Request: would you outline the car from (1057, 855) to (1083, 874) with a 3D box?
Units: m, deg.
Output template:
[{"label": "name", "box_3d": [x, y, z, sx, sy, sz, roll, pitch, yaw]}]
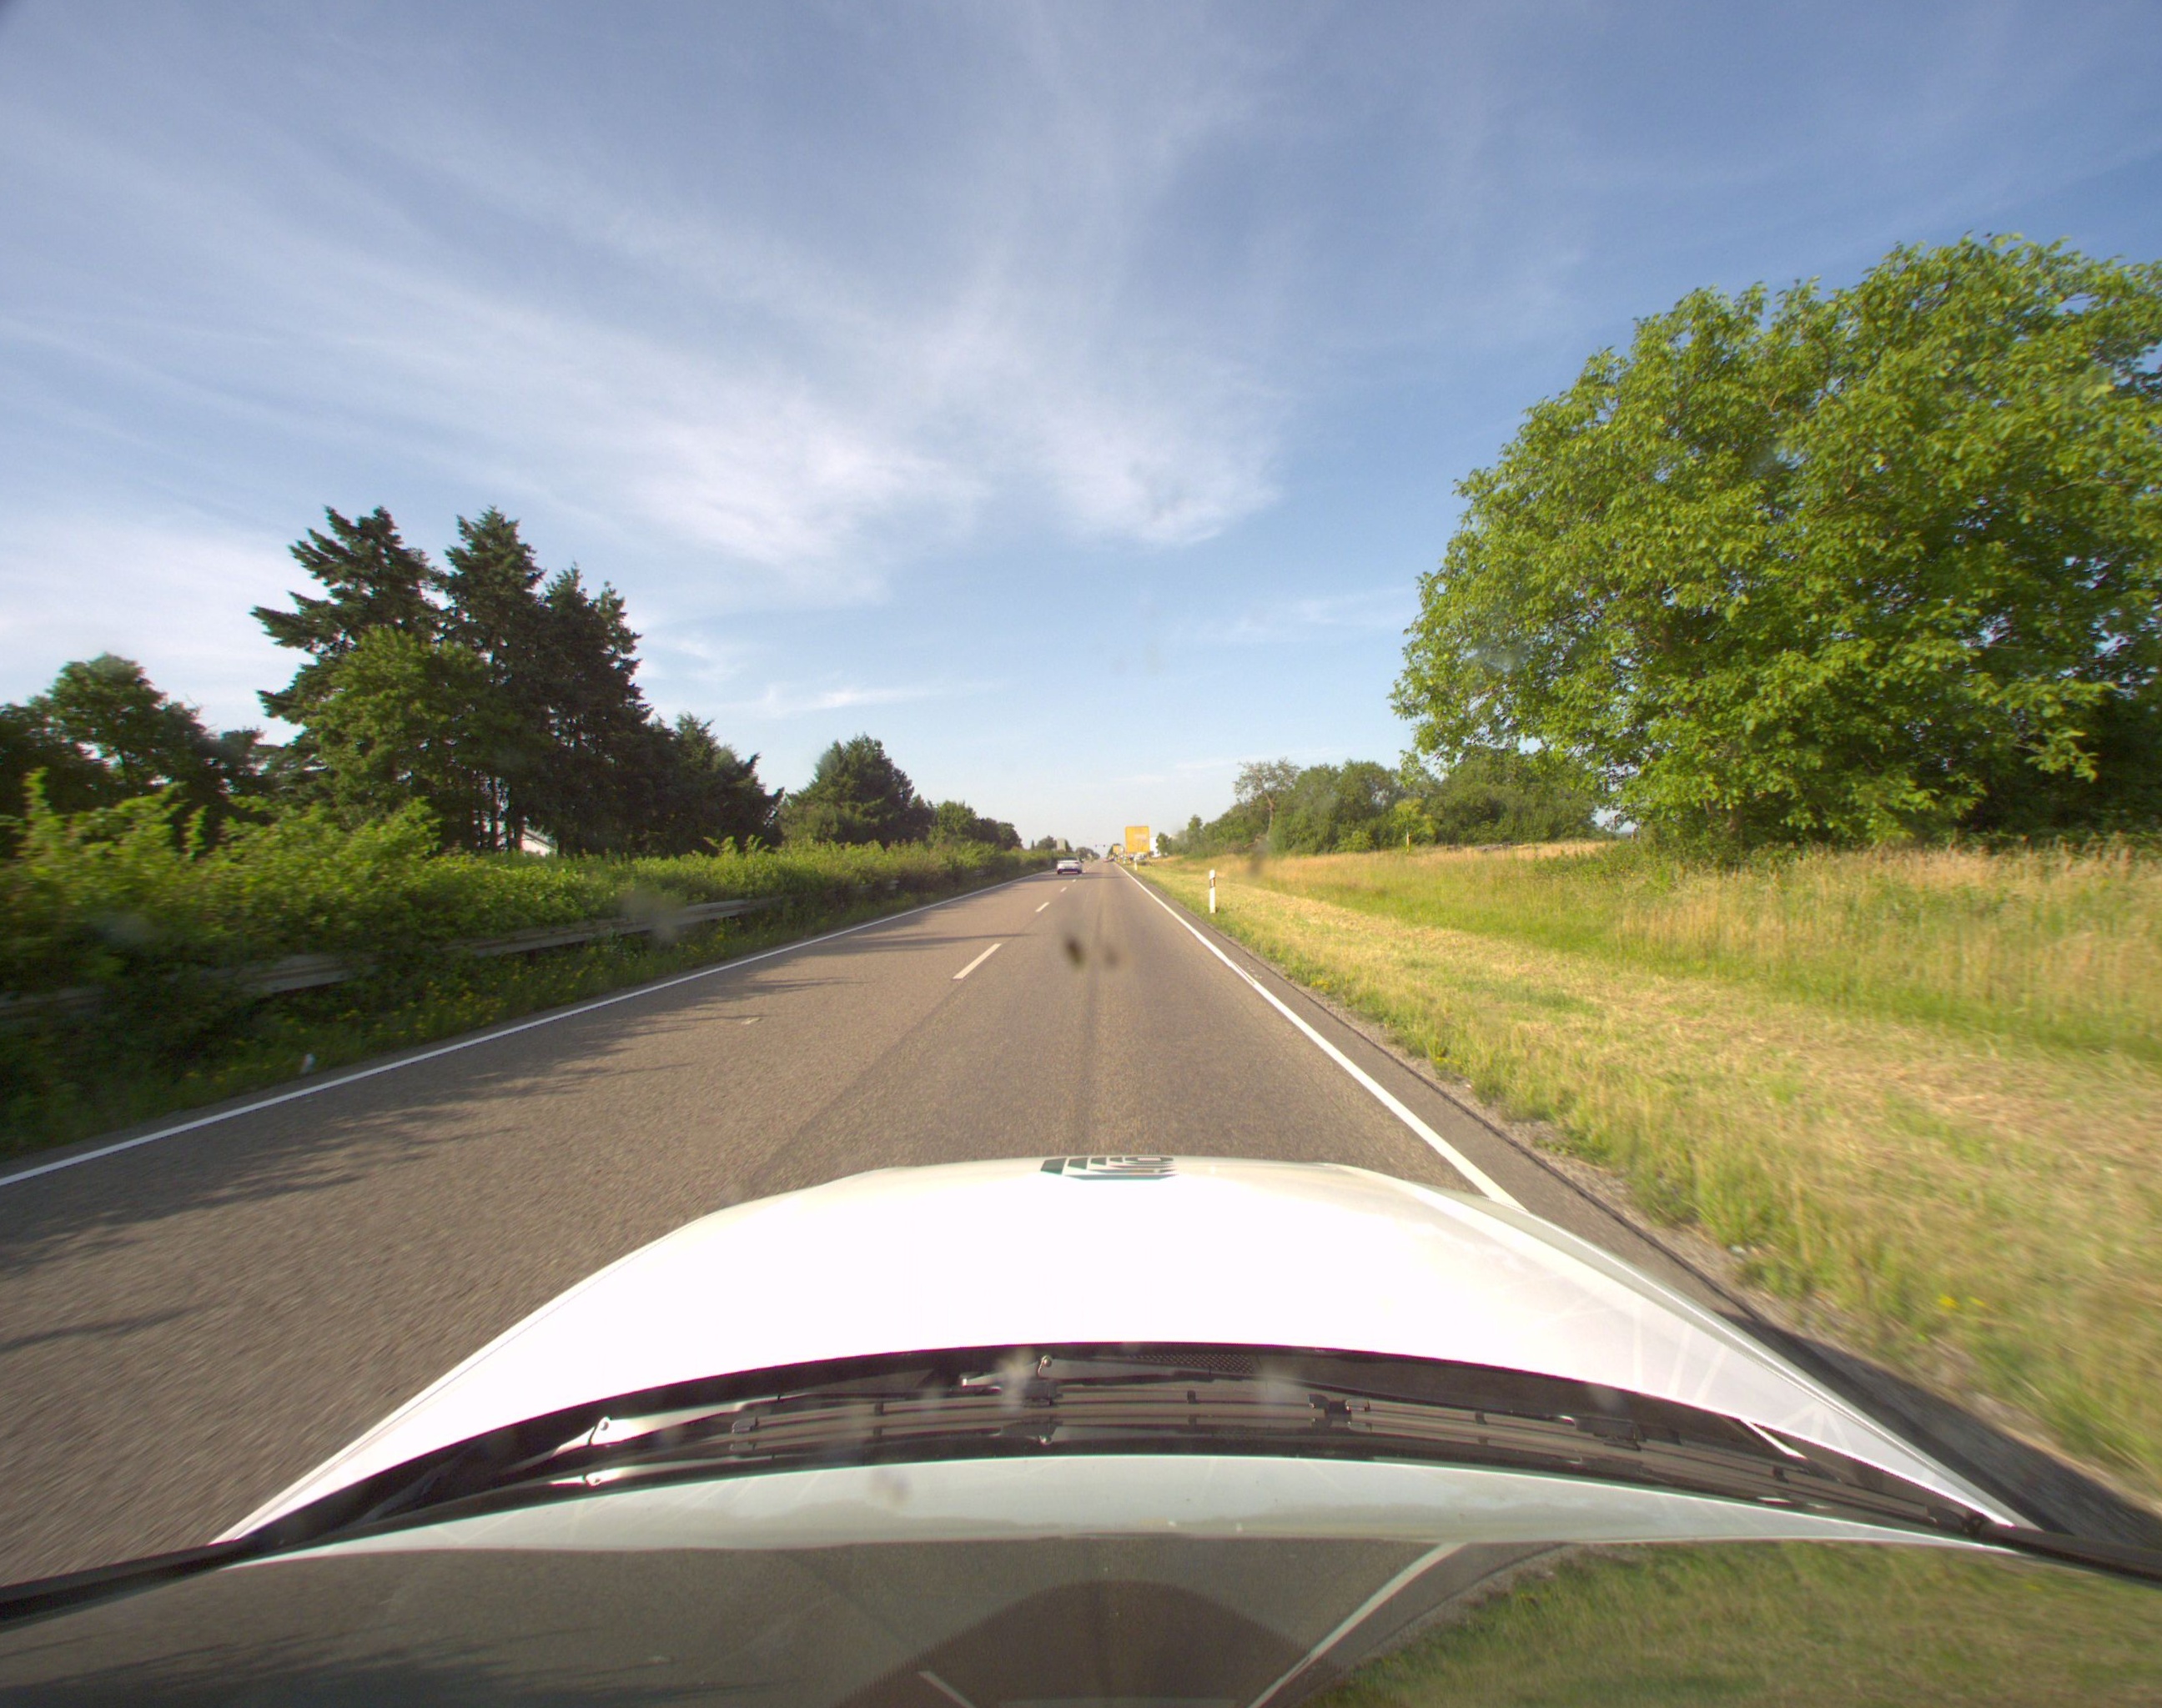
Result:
[{"label": "car", "box_3d": [-0.844, 0.830, 64.075, 1.903, 1.422, 4.001, -1, 0, 1]}]
